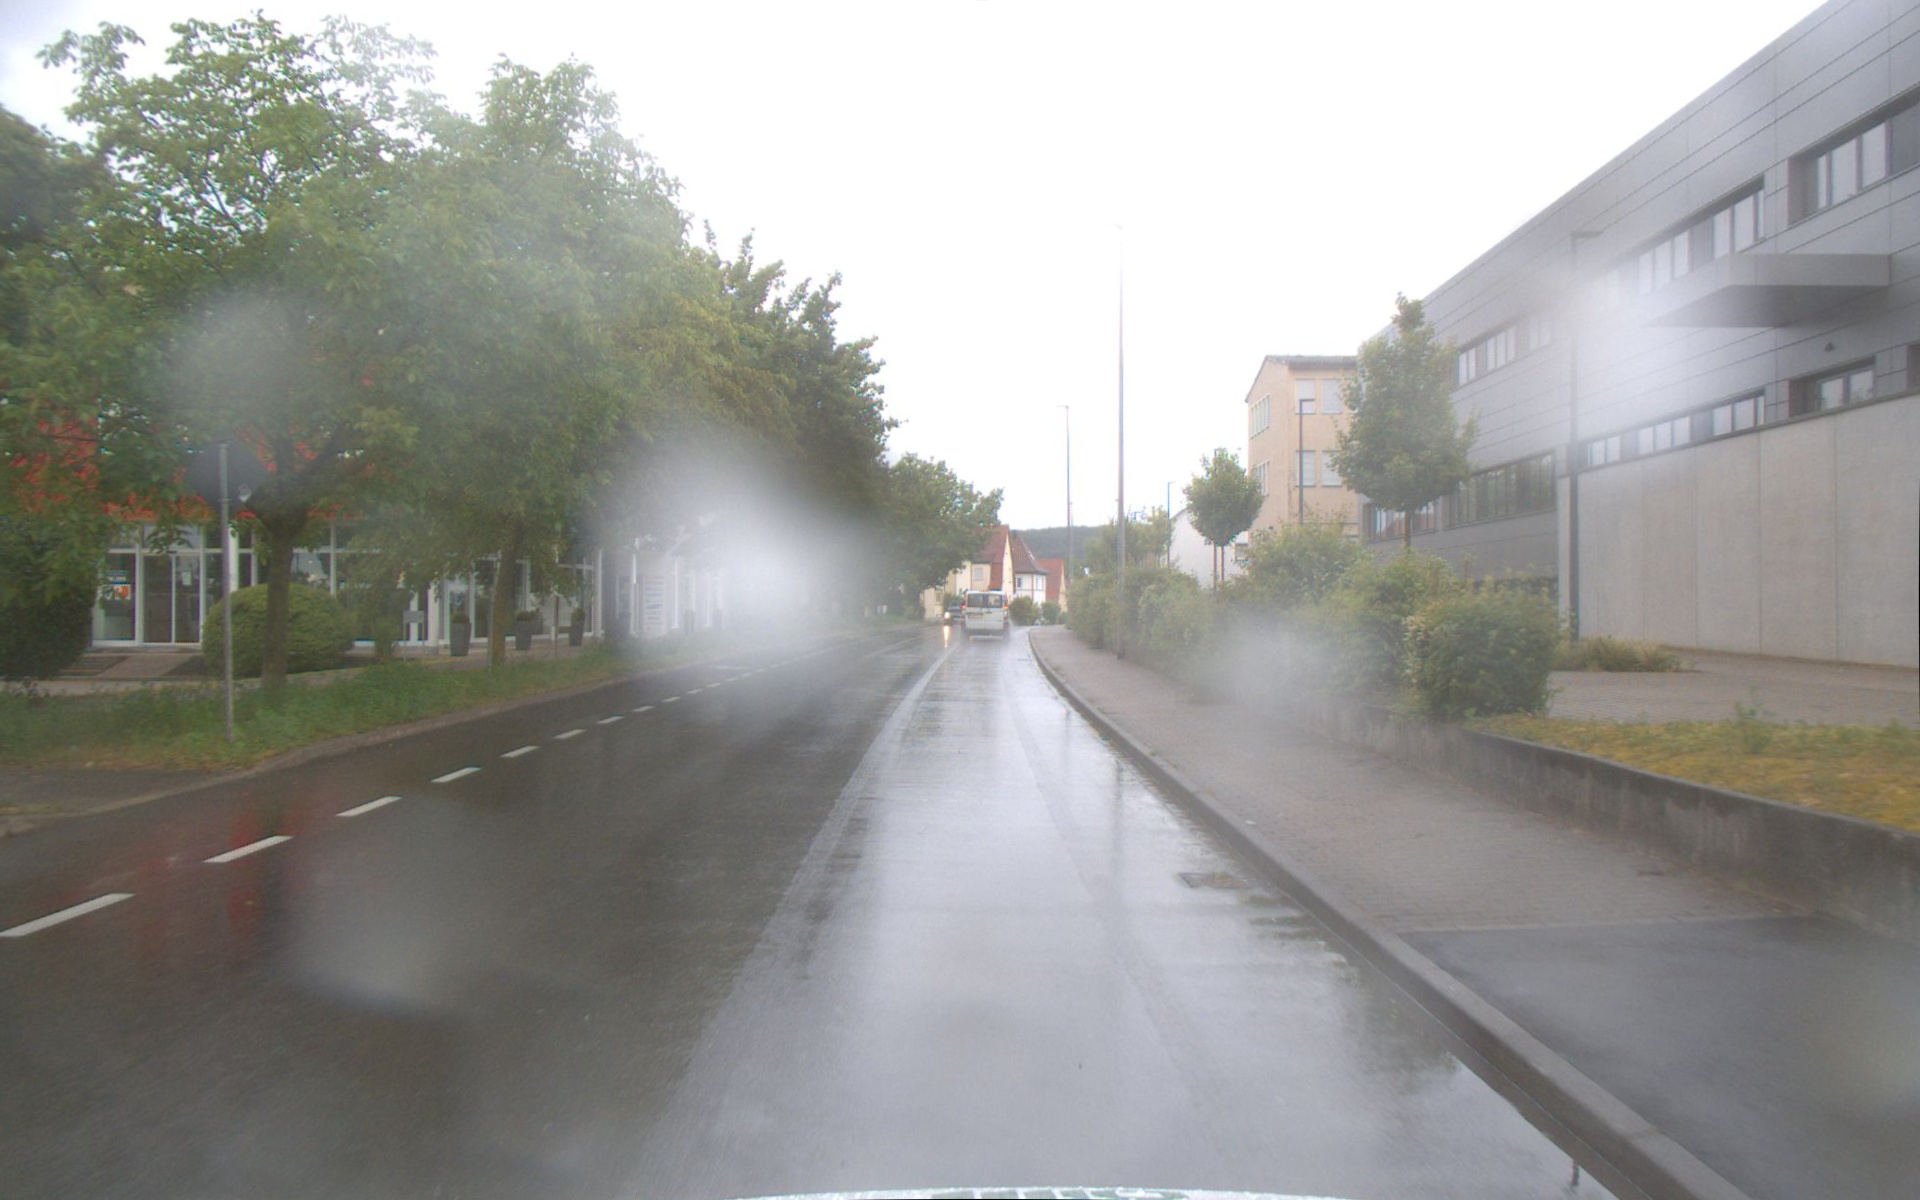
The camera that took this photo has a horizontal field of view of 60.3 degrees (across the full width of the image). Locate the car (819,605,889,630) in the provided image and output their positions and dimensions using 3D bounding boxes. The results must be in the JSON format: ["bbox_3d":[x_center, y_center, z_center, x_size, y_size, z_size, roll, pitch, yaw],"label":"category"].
[{"bbox_3d":[-6.023,0.999,94.245,3.818,1.306,1.582,-1,-1,3],"label":"car"}]

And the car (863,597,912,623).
[{"bbox_3d":[-4.493,0.648,102.587,2.847,1.481,1.253,-2,-3,3],"label":"car"}]

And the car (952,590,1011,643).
[{"bbox_3d":[0.780,0.604,63.877,2.074,1.921,4.500,1,1,-2],"label":"car"}]

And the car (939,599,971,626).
[{"bbox_3d":[-0.305,0.784,104.054,1.812,1.582,4.503,1,1,2],"label":"car"}]
